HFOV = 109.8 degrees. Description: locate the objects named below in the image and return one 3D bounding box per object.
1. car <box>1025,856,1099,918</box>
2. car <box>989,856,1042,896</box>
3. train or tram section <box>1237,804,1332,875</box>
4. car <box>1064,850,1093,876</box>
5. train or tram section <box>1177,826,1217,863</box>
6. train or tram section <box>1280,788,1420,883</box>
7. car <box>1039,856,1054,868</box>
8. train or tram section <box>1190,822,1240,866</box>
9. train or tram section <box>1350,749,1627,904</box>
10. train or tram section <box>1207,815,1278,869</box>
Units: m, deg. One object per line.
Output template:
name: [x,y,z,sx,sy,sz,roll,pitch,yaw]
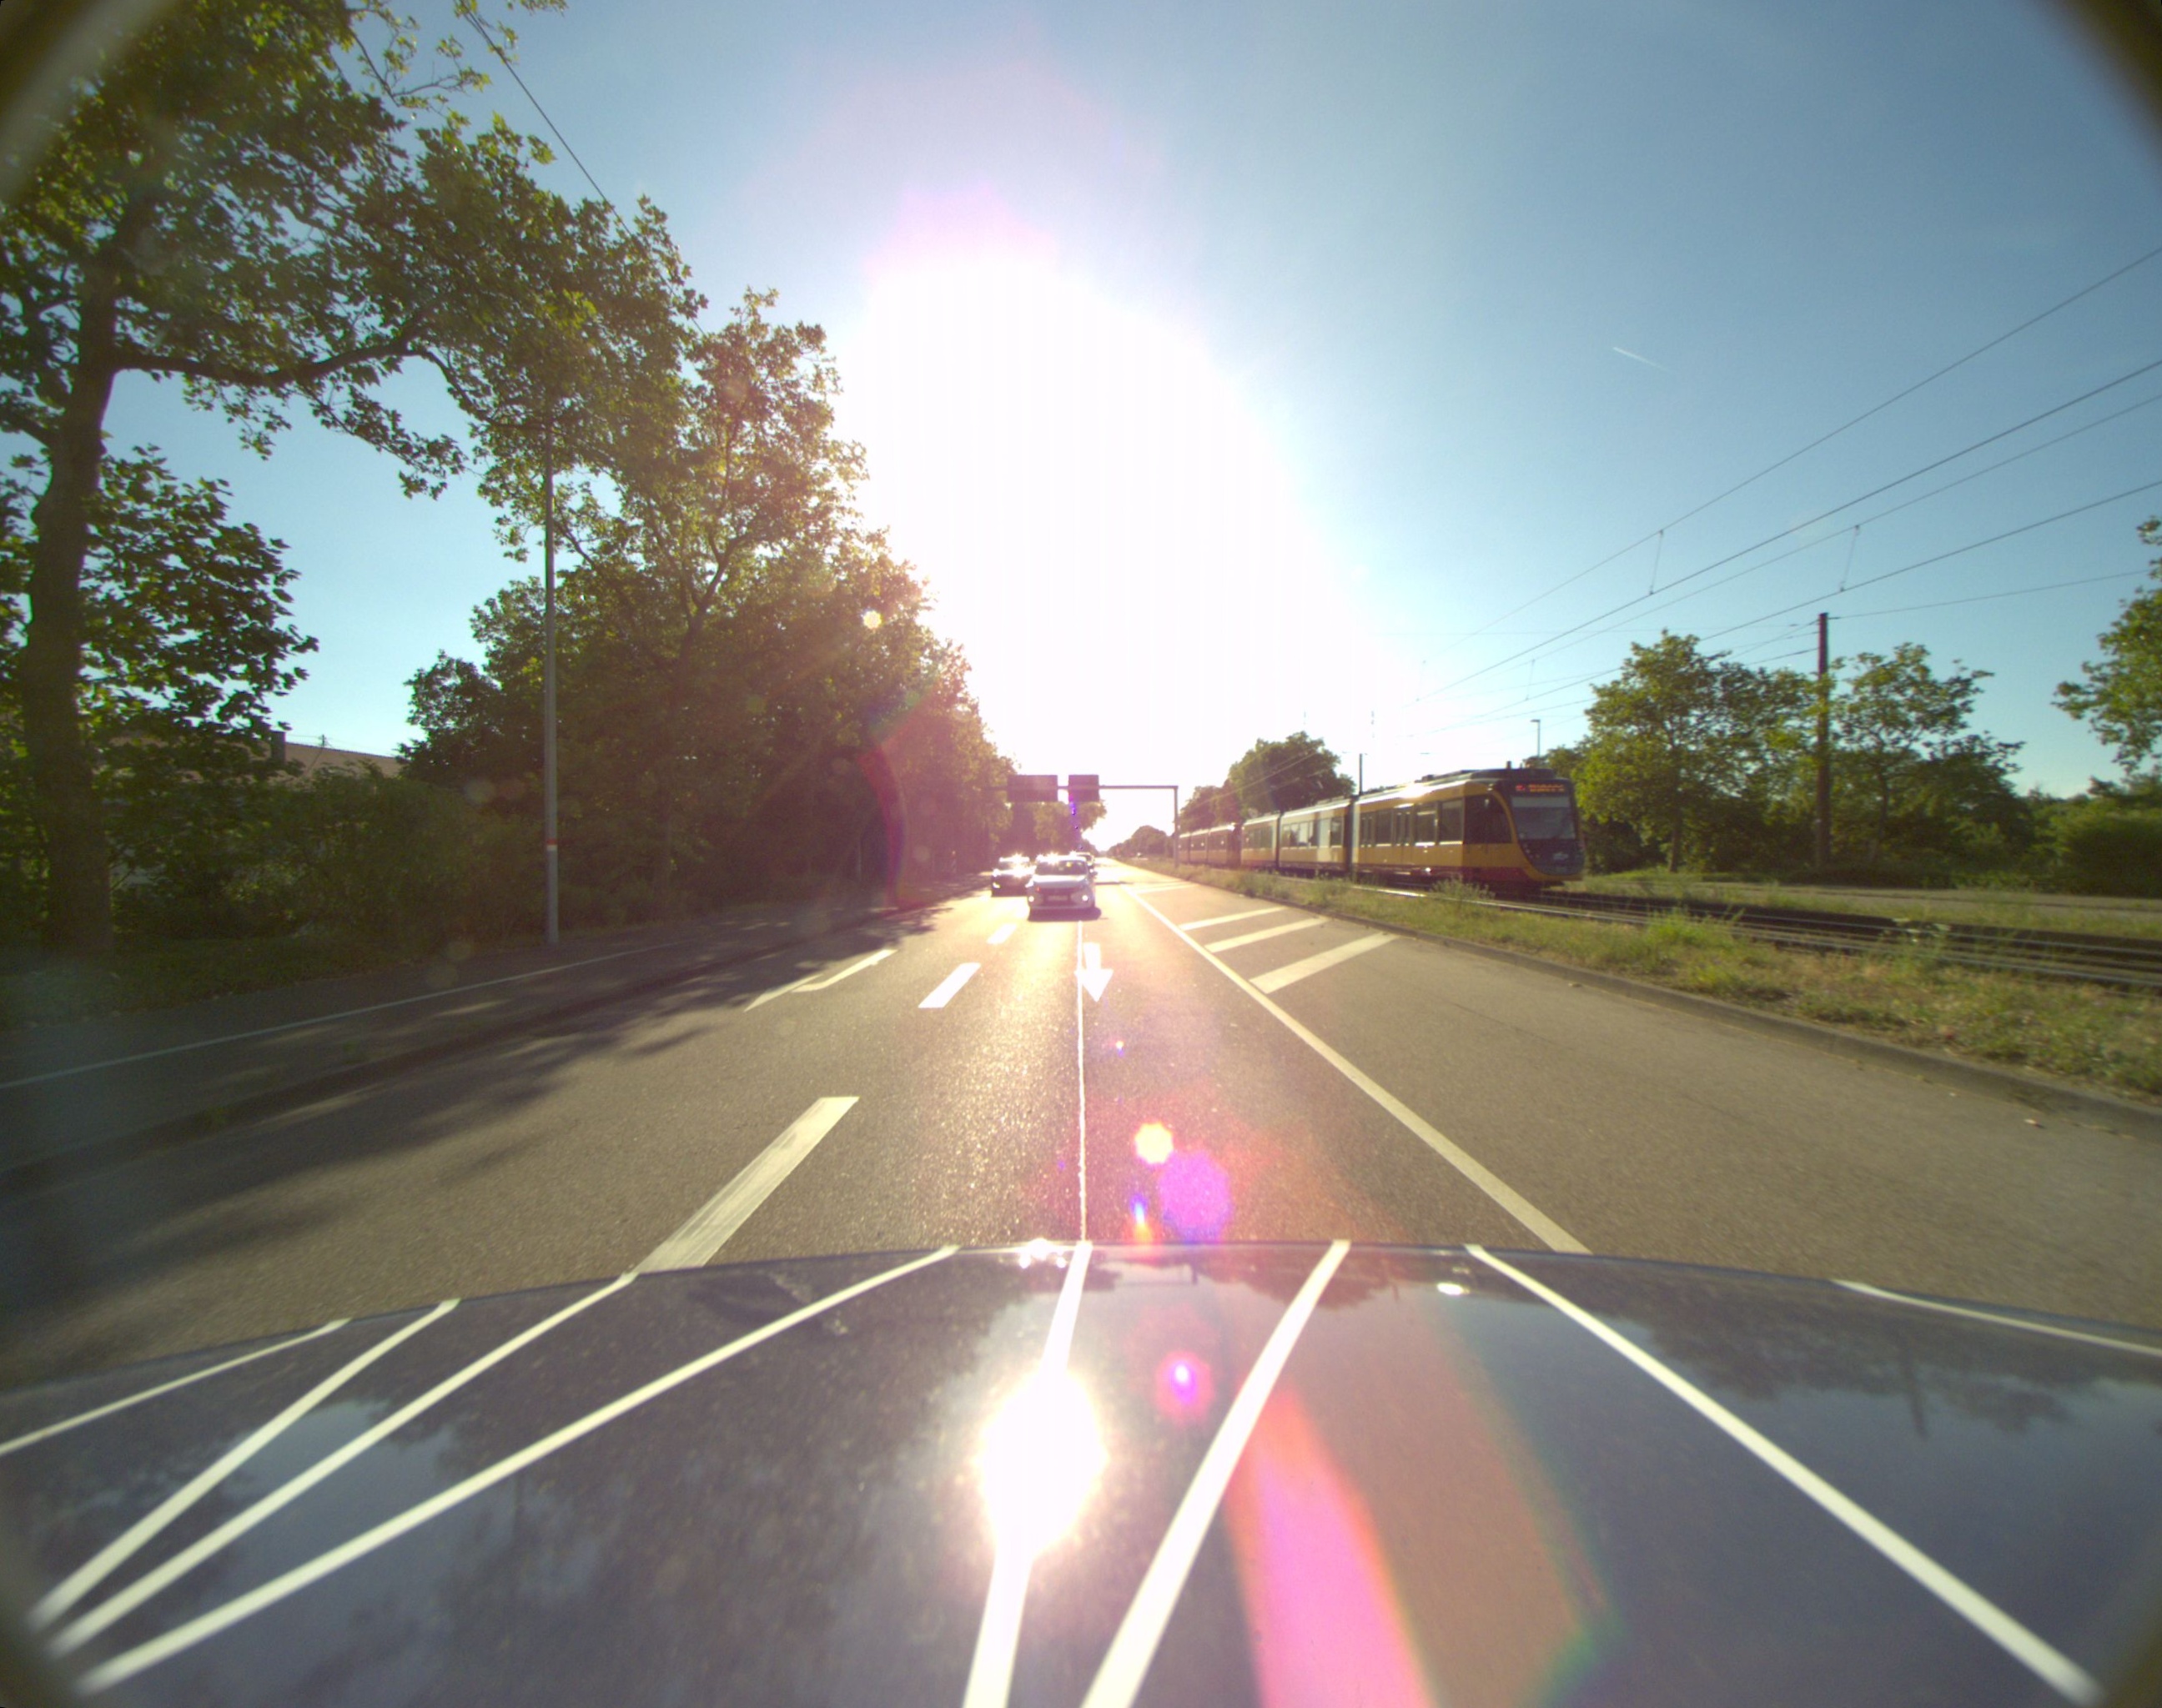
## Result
car: [-0.436,0.815,20.644,1.670,1.465,3.745,-1,1,3]
car: [-2.683,0.870,31.910,1.786,1.530,4.000,-1,0,1]
train or tram section: [12.761,-0.846,49.039,2.891,3.924,12.111,-1,0,0]
car: [-0.168,0.564,50.167,1.824,1.608,3.999,-1,0,-1]
train or tram section: [13.039,-1.024,86.503,2.891,3.924,11.665,-1,0,0]
train or tram section: [12.688,-0.787,37.319,2.891,3.924,11.339,-1,0,0]
car: [-4.313,0.954,94.587,1.744,1.455,3.999,0,0,-1]
train or tram section: [12.954,-0.957,74.713,2.891,3.924,11.911,-1,0,0]
train or tram section: [12.606,-0.729,25.576,2.891,3.924,12.111,-1,0,0]
train or tram section: [12.860,-0.890,61.926,2.891,3.924,13.659,-1,0,0]
